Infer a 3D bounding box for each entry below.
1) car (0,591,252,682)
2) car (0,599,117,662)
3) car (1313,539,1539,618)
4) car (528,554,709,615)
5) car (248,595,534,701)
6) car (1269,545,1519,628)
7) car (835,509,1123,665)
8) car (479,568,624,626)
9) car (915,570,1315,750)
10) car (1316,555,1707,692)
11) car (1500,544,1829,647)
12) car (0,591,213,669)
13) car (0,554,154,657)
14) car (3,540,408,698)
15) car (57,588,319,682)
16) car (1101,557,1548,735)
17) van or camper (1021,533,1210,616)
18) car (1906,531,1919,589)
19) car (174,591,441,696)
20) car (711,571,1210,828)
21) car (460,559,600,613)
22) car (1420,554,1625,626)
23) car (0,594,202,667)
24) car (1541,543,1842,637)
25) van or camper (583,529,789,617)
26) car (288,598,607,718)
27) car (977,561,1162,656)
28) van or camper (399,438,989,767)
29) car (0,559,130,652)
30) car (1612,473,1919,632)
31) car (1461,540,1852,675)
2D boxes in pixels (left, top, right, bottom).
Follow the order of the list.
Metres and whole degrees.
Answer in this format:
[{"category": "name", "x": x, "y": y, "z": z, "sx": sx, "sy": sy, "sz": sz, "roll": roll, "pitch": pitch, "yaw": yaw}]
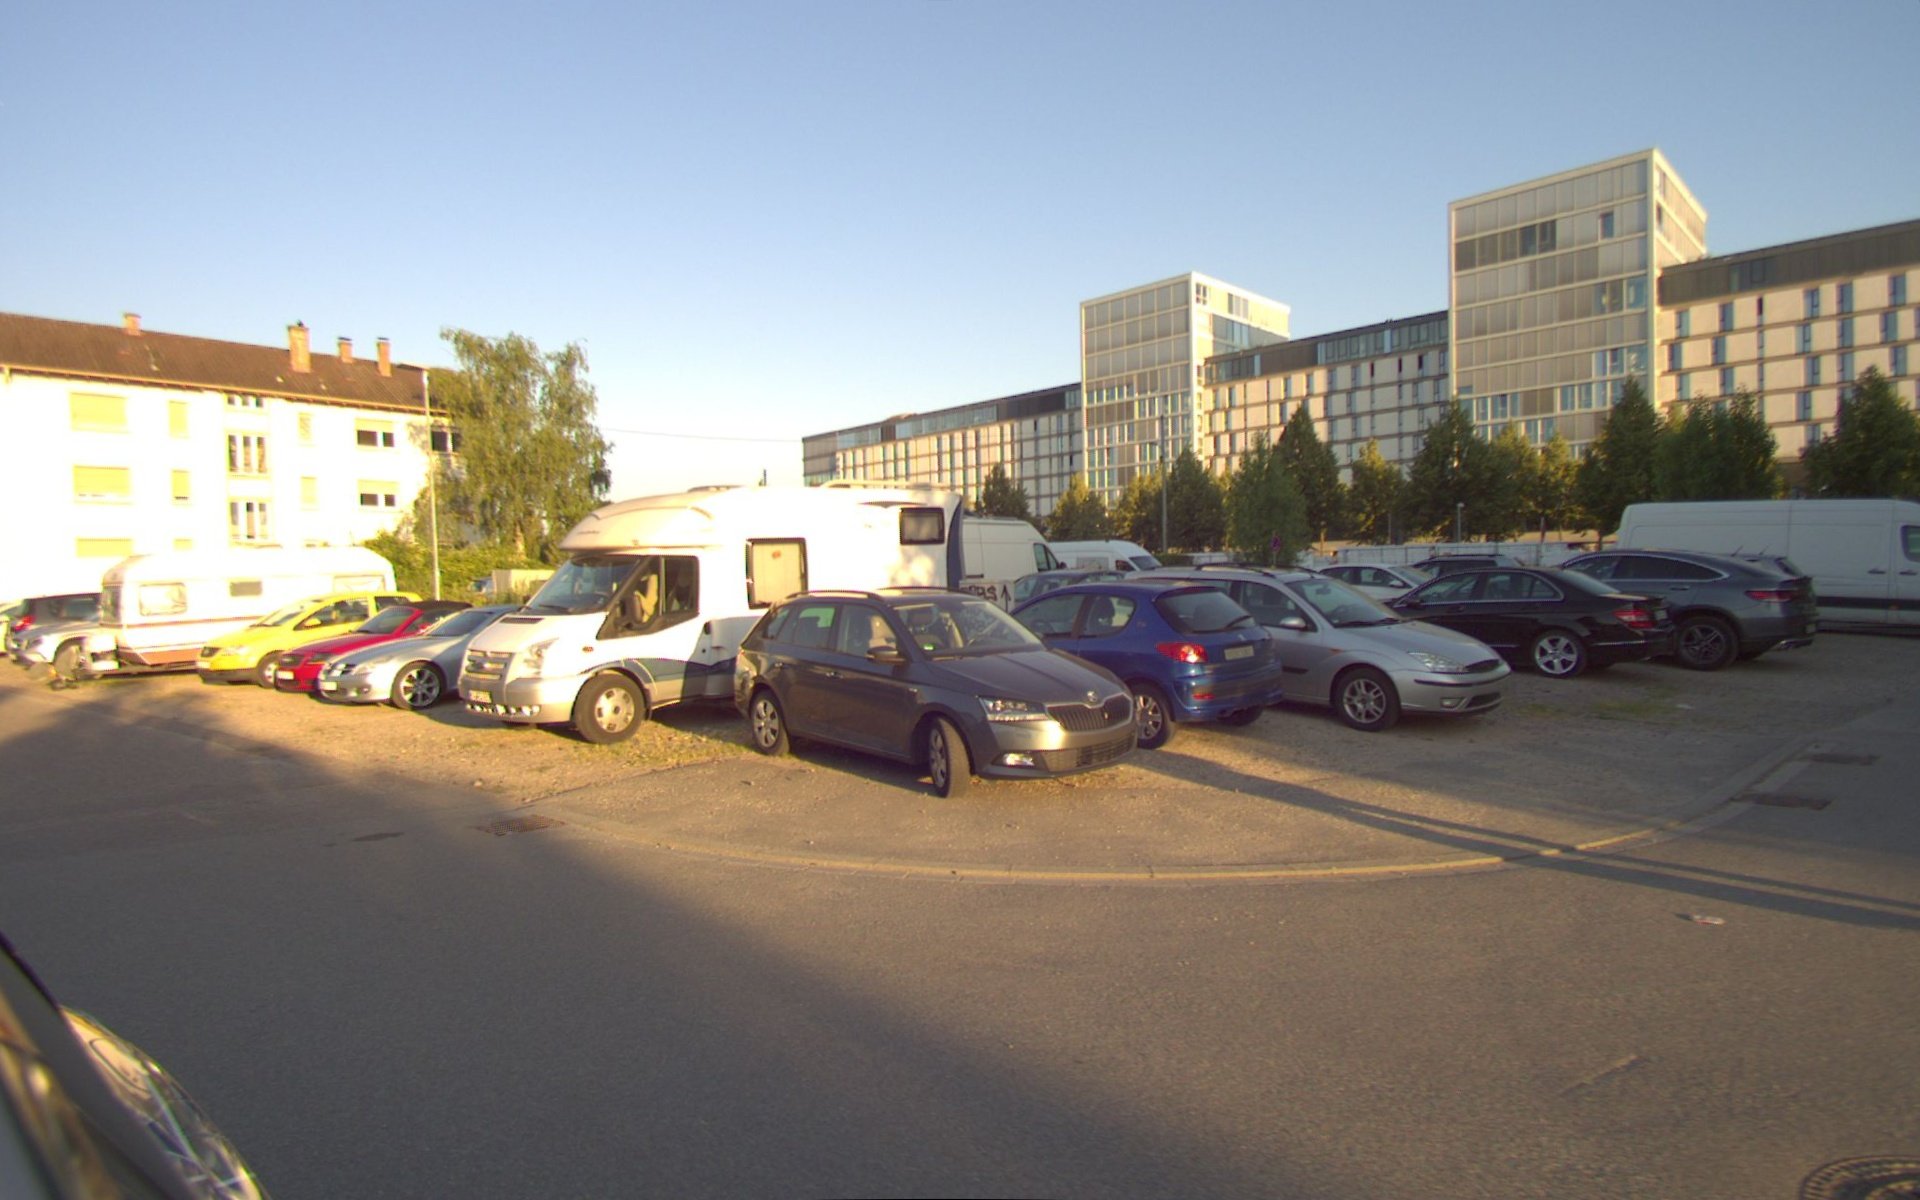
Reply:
[{"category": "car", "x": -18.469, "y": 0.723, "z": 22.477, "sx": 1.743, "sy": 1.602, "sz": 4.093, "roll": 0, "pitch": 3, "yaw": 34}, {"category": "car", "x": -25.026, "y": 0.815, "z": 26.724, "sx": 1.785, "sy": 1.518, "sz": 3.894, "roll": 0, "pitch": 2, "yaw": 33}, {"category": "car", "x": 10.619, "y": -0.482, "z": 23.284, "sx": 1.643, "sy": 1.633, "sz": 4.409, "roll": -4, "pitch": 3, "yaw": -44}, {"category": "car", "x": -9.434, "y": -0.455, "z": 28.192, "sx": 1.983, "sy": 1.487, "sz": 4.318, "roll": -1, "pitch": 2, "yaw": 45}, {"category": "car", "x": -9.203, "y": 0.694, "z": 16.641, "sx": 1.701, "sy": 1.377, "sz": 3.695, "roll": -1, "pitch": 2, "yaw": 34}, {"category": "car", "x": 8.800, "y": -0.248, "z": 20.799, "sx": 1.643, "sy": 1.510, "sz": 4.409, "roll": -4, "pitch": 2, "yaw": -44}, {"category": "car", "x": 0.602, "y": -0.364, "z": 20.487, "sx": 2.223, "sy": 2.693, "sz": 6.175, "roll": -1, "pitch": 2, "yaw": 43}, {"category": "car", "x": -11.946, "y": -0.114, "z": 29.742, "sx": 1.664, "sy": 1.487, "sz": 3.569, "roll": -1, "pitch": 2, "yaw": 39}, {"category": "car", "x": 1.384, "y": 0.475, "z": 10.087, "sx": 1.643, "sy": 1.433, "sz": 3.726, "roll": -2, "pitch": 1, "yaw": -42}, {"category": "car", "x": 7.373, "y": 0.180, "z": 13.910, "sx": 1.643, "sy": 1.490, "sz": 4.410, "roll": -4, "pitch": 6, "yaw": -44}, {"category": "car", "x": 12.032, "y": -0.192, "z": 17.528, "sx": 1.643, "sy": 1.510, "sz": 4.410, "roll": -4, "pitch": 6, "yaw": -44}, {"category": "car", "x": -20.685, "y": 0.659, "z": 24.475, "sx": 1.747, "sy": 1.602, "sz": 3.885, "roll": -1, "pitch": 2, "yaw": 41}, {"category": "car", "x": -26.809, "y": 0.186, "z": 28.641, "sx": 2.043, "sy": 2.733, "sz": 5.785, "roll": -1, "pitch": 3, "yaw": 31}, {"category": "car", "x": -14.433, "y": 0.177, "z": 19.781, "sx": 2.409, "sy": 2.552, "sz": 5.832, "roll": 0, "pitch": 4, "yaw": 38}, {"category": "car", "x": -16.416, "y": 0.654, "z": 21.708, "sx": 1.744, "sy": 1.602, "sz": 4.091, "roll": 0, "pitch": 3, "yaw": 36}, {"category": "car", "x": 3.677, "y": 0.327, "z": 10.809, "sx": 1.643, "sy": 1.490, "sz": 4.209, "roll": -4, "pitch": 4, "yaw": -42}, {"category": "van or camper", "x": 5.449, "y": -0.868, "z": 36.367, "sx": 6.639, "sy": 2.710, "sz": 1.993, "roll": 0, "pitch": 3, "yaw": 42}, {"category": "car", "x": 36.423, "y": -1.527, "z": 35.850, "sx": 1.643, "sy": 2.040, "sz": 4.132, "roll": -4, "pitch": 2, "yaw": -44}, {"category": "car", "x": -11.510, "y": 0.689, "z": 18.069, "sx": 1.701, "sy": 1.530, "sz": 3.599, "roll": -1, "pitch": 2, "yaw": 34}, {"category": "car", "x": -0.263, "y": 0.586, "z": 8.407, "sx": 1.666, "sy": 1.530, "sz": 4.368, "roll": -4, "pitch": 3, "yaw": -41}, {"category": "car", "x": -13.180, "y": -0.450, "z": 31.133, "sx": 1.664, "sy": 1.487, "sz": 3.569, "roll": -1, "pitch": 2, "yaw": 39}, {"category": "car", "x": 14.692, "y": -0.331, "z": 26.636, "sx": 1.643, "sy": 1.633, "sz": 4.410, "roll": -4, "pitch": 6, "yaw": -44}, {"category": "car", "x": -22.270, "y": 0.707, "z": 26.177, "sx": 1.743, "sy": 1.602, "sz": 3.895, "roll": 1, "pitch": 2, "yaw": 33}, {"category": "car", "x": 13.505, "y": -0.281, "z": 18.893, "sx": 1.643, "sy": 1.510, "sz": 4.305, "roll": -4, "pitch": 6, "yaw": -44}, {"category": "van or camper", "x": -6.393, "y": -0.672, "z": 23.988, "sx": 1.932, "sy": 1.905, "sz": 4.292, "roll": -1, "pitch": 2, "yaw": 42}, {"category": "car", "x": -7.315, "y": 0.738, "z": 14.777, "sx": 1.689, "sy": 1.338, "sz": 3.774, "roll": -1, "pitch": 2, "yaw": 36}, {"category": "car", "x": 2.027, "y": 0.095, "z": 18.090, "sx": 1.514, "sy": 1.458, "sz": 3.401, "roll": -1, "pitch": 2, "yaw": 43}, {"category": "van or camper", "x": -2.729, "y": -0.101, "z": 12.298, "sx": 2.408, "sy": 2.919, "sz": 6.670, "roll": -1, "pitch": 2, "yaw": 41}, {"category": "car", "x": -30.097, "y": 0.195, "z": 31.398, "sx": 2.102, "sy": 2.733, "sz": 6.355, "roll": 0, "pitch": 3, "yaw": 26}, {"category": "car", "x": 17.041, "y": -0.914, "z": 19.683, "sx": 2.180, "sy": 2.822, "sz": 6.992, "roll": -3, "pitch": 3, "yaw": -42}, {"category": "car", "x": 9.940, "y": -0.027, "z": 14.742, "sx": 1.643, "sy": 1.633, "sz": 4.410, "roll": -4, "pitch": 6, "yaw": -44}]
